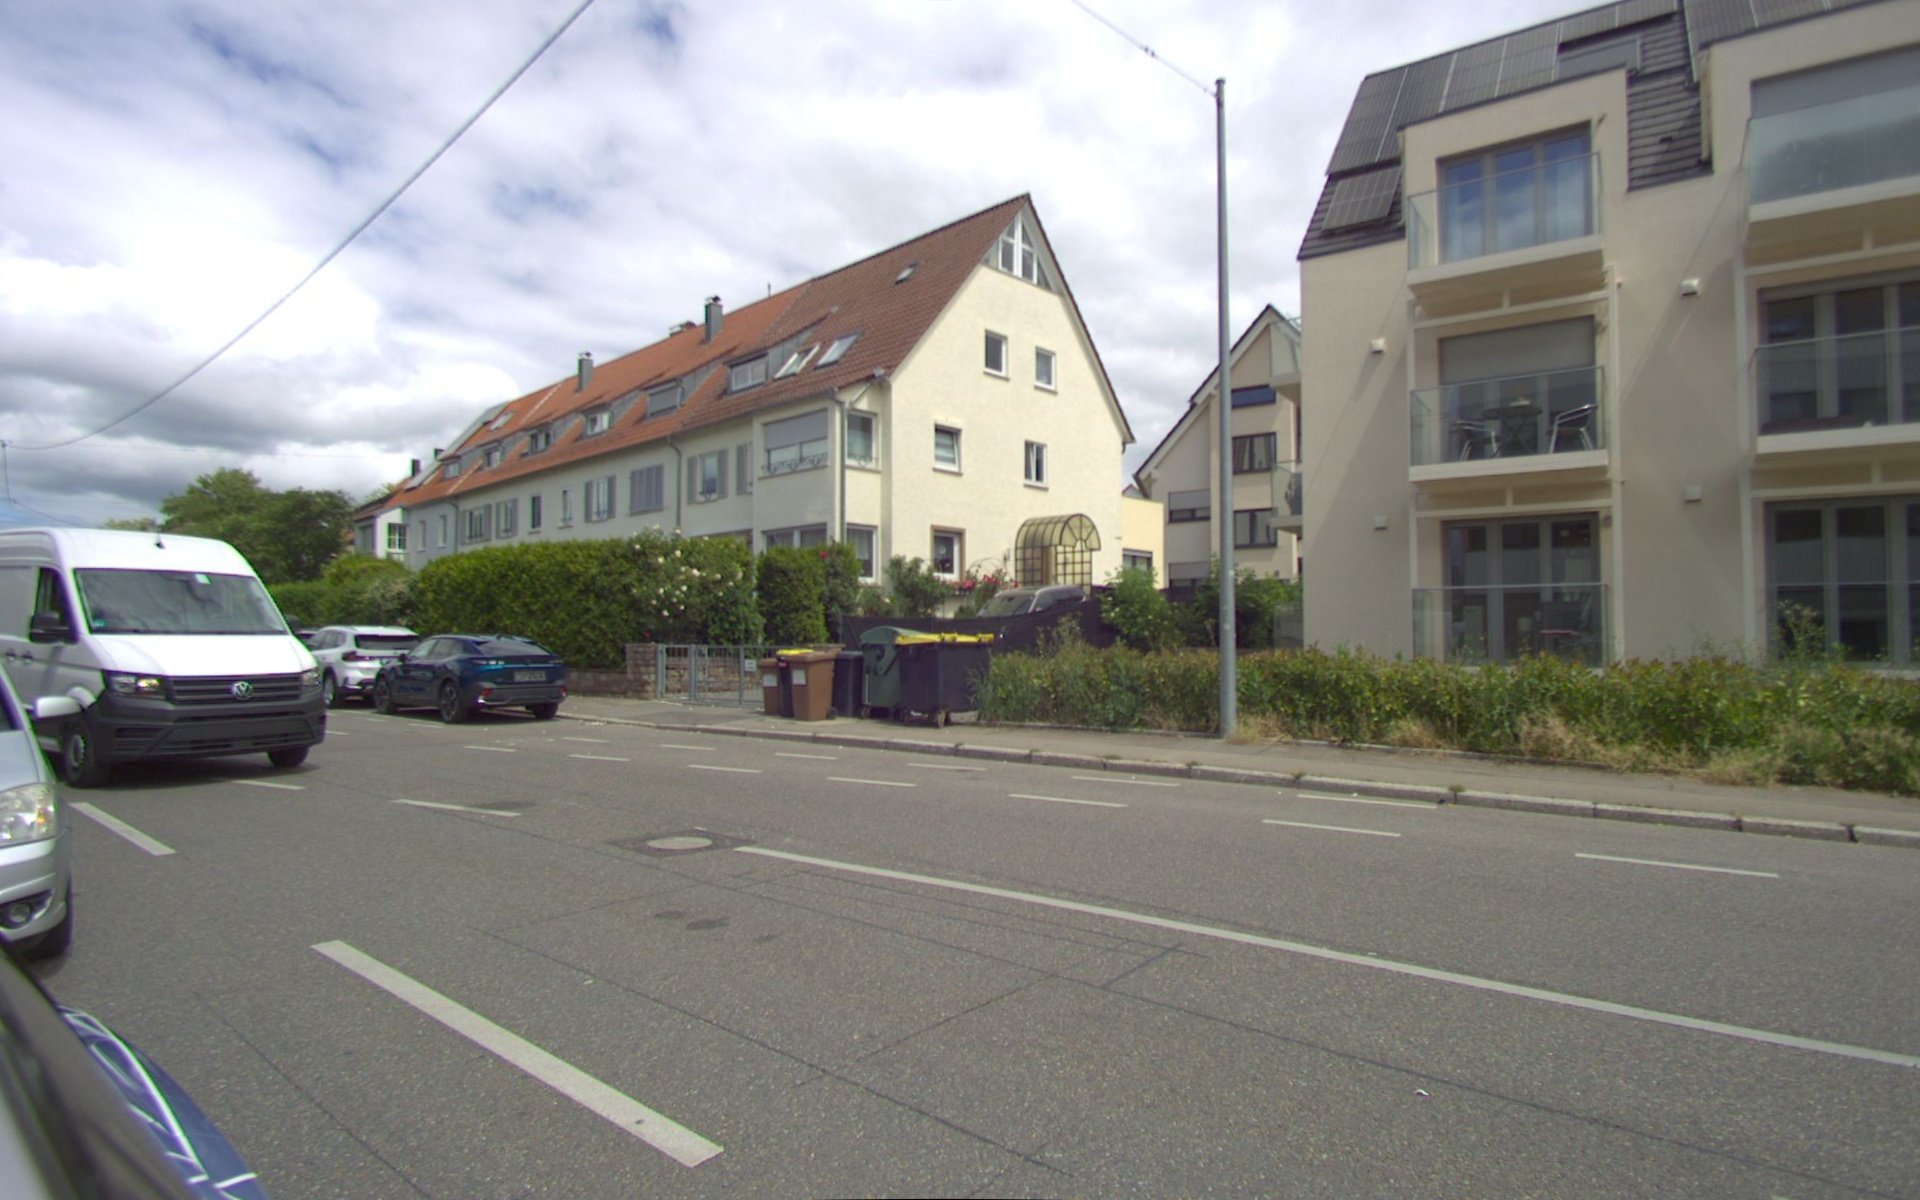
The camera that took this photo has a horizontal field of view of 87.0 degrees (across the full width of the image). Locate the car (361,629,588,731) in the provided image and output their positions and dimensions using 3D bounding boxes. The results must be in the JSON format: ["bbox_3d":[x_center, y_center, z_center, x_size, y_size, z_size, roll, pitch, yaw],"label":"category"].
[{"bbox_3d":[-8.762,1.326,18.129,4.485,1.599,1.973,-1,-3,40],"label":"car"}]

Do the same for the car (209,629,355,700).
[{"bbox_3d":[-16.734,1.519,24.884,4.690,1.576,1.971,-2,-3,43],"label":"car"}]

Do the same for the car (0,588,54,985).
[{"bbox_3d":[-5.772,0.775,5.002,4.332,1.552,1.684,-2,-1,45],"label":"car"}]

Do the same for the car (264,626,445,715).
[{"bbox_3d":[-12.776,1.402,21.245,4.515,1.663,1.972,-1,-3,41],"label":"car"}]

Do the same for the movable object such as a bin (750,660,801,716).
[{"bbox_3d":[-3.072,1.462,16.877,0.614,0.886,0.589,-2,-3,41],"label":"movable object such as a bin"}]

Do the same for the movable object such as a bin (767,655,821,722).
[{"bbox_3d":[-2.678,1.421,16.332,0.658,1.032,0.589,-2,-3,41],"label":"movable object such as a bin"}]

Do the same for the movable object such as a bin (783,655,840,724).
[{"bbox_3d":[-2.314,1.377,15.731,0.658,1.015,0.589,-2,-3,41],"label":"movable object such as a bin"}]

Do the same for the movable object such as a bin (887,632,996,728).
[{"bbox_3d":[-0.274,1.136,14.876,1.214,1.323,1.053,-2,-3,43],"label":"movable object such as a bin"}]

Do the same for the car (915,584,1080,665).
[{"bbox_3d":[0.955,0.553,23.664,1.802,1.719,3.946,-2,-1,40],"label":"car"}]

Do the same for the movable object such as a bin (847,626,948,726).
[{"bbox_3d":[-0.981,1.166,15.965,1.213,1.493,1.054,-2,-3,39],"label":"movable object such as a bin"}]

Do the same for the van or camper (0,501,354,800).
[{"bbox_3d":[-9.440,0.564,11.043,5.891,2.600,2.013,-3,-2,27],"label":"van or camper"}]
